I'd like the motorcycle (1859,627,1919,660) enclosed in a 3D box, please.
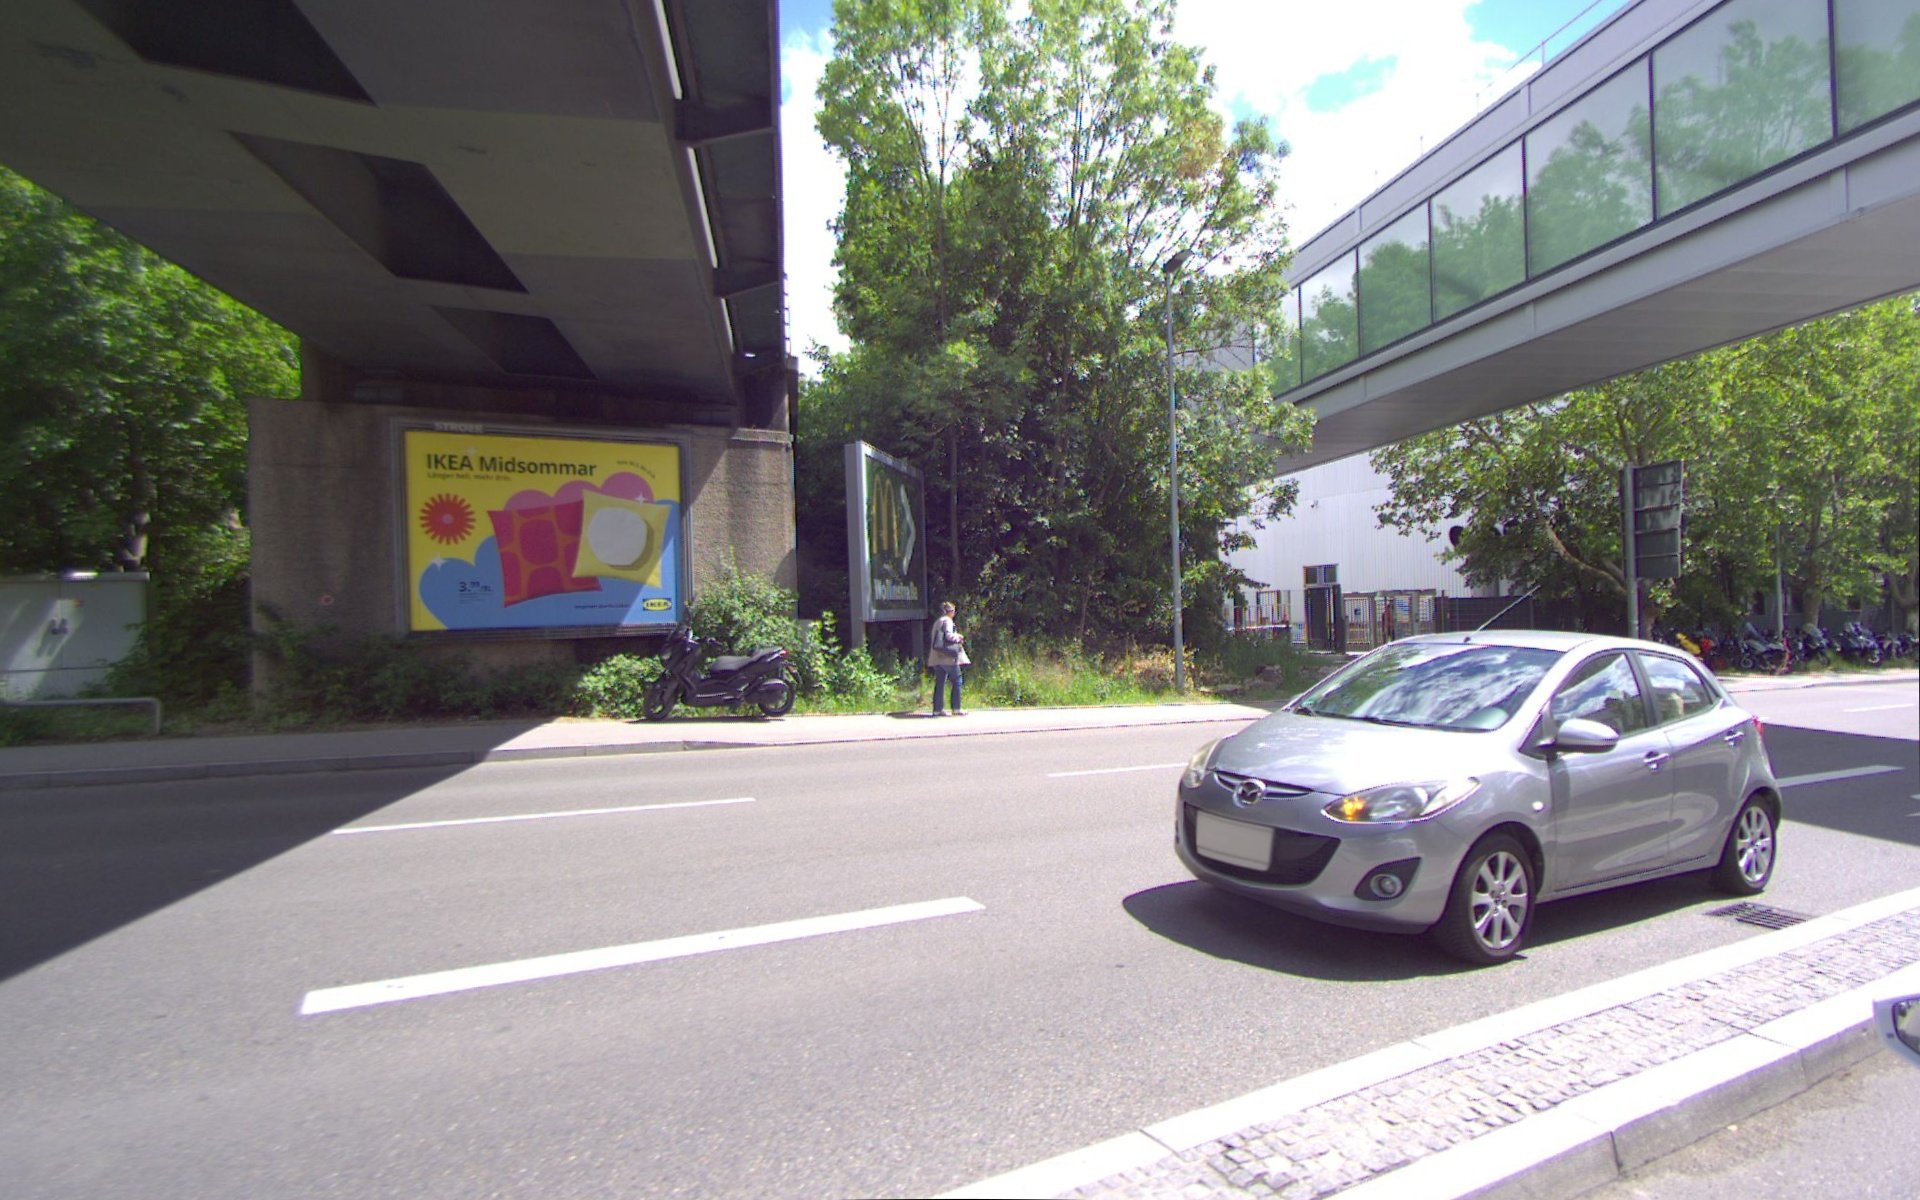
[{"bbox_3d":[35.257,1.634,37.882,0.780,1.099,1.879,-1,1,-13],"label":"motorcycle"}]

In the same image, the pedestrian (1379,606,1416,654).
[{"bbox_3d":[15.962,1.078,36.632,0.879,1.724,0.971,1,-1,-44],"label":"pedestrian"}]

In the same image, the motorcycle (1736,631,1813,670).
[{"bbox_3d":[26.727,1.644,33.013,0.903,1.131,1.937,0,1,-2],"label":"motorcycle"}]

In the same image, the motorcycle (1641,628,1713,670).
[{"bbox_3d":[21.192,1.434,29.714,0.769,1.138,1.579,-1,2,-38],"label":"motorcycle"}]

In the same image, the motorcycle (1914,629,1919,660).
[{"bbox_3d":[38.121,1.745,38.670,0.733,1.189,1.876,-1,1,-19],"label":"motorcycle"}]

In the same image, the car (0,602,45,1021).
[{"bbox_3d":[-4.617,0.728,2.580,3.081,1.508,1.498,1,-1,-32],"label":"car"}]

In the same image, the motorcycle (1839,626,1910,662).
[{"bbox_3d":[34.240,1.646,37.644,0.646,1.226,1.872,-1,1,-25],"label":"motorcycle"}]

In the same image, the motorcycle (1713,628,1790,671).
[{"bbox_3d":[24.435,1.521,31.035,0.845,1.195,1.731,-1,2,-40],"label":"motorcycle"}]

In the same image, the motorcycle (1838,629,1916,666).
[{"bbox_3d":[32.614,1.681,35.761,0.802,1.195,1.875,-1,1,-20],"label":"motorcycle"}]

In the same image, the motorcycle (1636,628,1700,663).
[{"bbox_3d":[25.535,1.624,36.287,0.903,1.131,1.937,0,1,-2],"label":"motorcycle"}]

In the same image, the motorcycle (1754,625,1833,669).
[{"bbox_3d":[27.823,1.547,33.589,0.876,1.308,1.935,0,1,-8],"label":"motorcycle"}]

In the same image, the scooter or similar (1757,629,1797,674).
[{"bbox_3d":[23.296,1.472,28.637,1.462,1.252,0.352,2,0,-30],"label":"scooter or similar"}]

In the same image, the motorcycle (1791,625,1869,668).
[{"bbox_3d":[29.990,1.574,34.673,0.848,1.362,1.935,0,1,-8],"label":"motorcycle"}]

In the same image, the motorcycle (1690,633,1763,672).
[{"bbox_3d":[23.418,1.592,30.720,0.766,1.047,1.585,-1,1,-27],"label":"motorcycle"}]

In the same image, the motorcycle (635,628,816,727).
[{"bbox_3d":[-3.083,1.002,13.337,2.231,1.214,0.636,2,1,-30],"label":"motorcycle"}]

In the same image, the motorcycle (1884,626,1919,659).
[{"bbox_3d":[36.579,1.643,38.291,0.718,1.202,1.875,0,1,-20],"label":"motorcycle"}]

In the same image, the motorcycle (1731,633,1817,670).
[{"bbox_3d":[25.491,1.619,31.471,0.914,1.130,1.916,3,-4,-40],"label":"motorcycle"}]

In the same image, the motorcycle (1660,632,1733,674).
[{"bbox_3d":[22.168,1.584,30.261,0.766,1.138,1.585,-1,2,-27],"label":"motorcycle"}]

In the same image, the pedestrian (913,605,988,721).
[{"bbox_3d":[-0.150,0.907,14.813,0.804,1.633,0.764,1,1,-30],"label":"pedestrian"}]

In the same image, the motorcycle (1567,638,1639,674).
[{"bbox_3d":[18.221,1.570,28.516,0.762,0.880,1.745,0,1,-8],"label":"motorcycle"}]

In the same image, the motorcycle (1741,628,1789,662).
[{"bbox_3d":[31.615,1.766,39.435,1.955,1.226,0.651,-1,2,-25],"label":"motorcycle"}]

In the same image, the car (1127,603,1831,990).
[{"bbox_3d":[3.013,0.826,5.669,3.937,1.508,1.701,1,-2,-30],"label":"car"}]

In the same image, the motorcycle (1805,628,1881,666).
[{"bbox_3d":[31.008,1.634,35.324,0.801,1.195,1.878,-1,1,-14],"label":"motorcycle"}]

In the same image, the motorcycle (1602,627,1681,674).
[{"bbox_3d":[19.298,1.408,28.483,0.764,1.187,1.739,-1,1,-20],"label":"motorcycle"}]
